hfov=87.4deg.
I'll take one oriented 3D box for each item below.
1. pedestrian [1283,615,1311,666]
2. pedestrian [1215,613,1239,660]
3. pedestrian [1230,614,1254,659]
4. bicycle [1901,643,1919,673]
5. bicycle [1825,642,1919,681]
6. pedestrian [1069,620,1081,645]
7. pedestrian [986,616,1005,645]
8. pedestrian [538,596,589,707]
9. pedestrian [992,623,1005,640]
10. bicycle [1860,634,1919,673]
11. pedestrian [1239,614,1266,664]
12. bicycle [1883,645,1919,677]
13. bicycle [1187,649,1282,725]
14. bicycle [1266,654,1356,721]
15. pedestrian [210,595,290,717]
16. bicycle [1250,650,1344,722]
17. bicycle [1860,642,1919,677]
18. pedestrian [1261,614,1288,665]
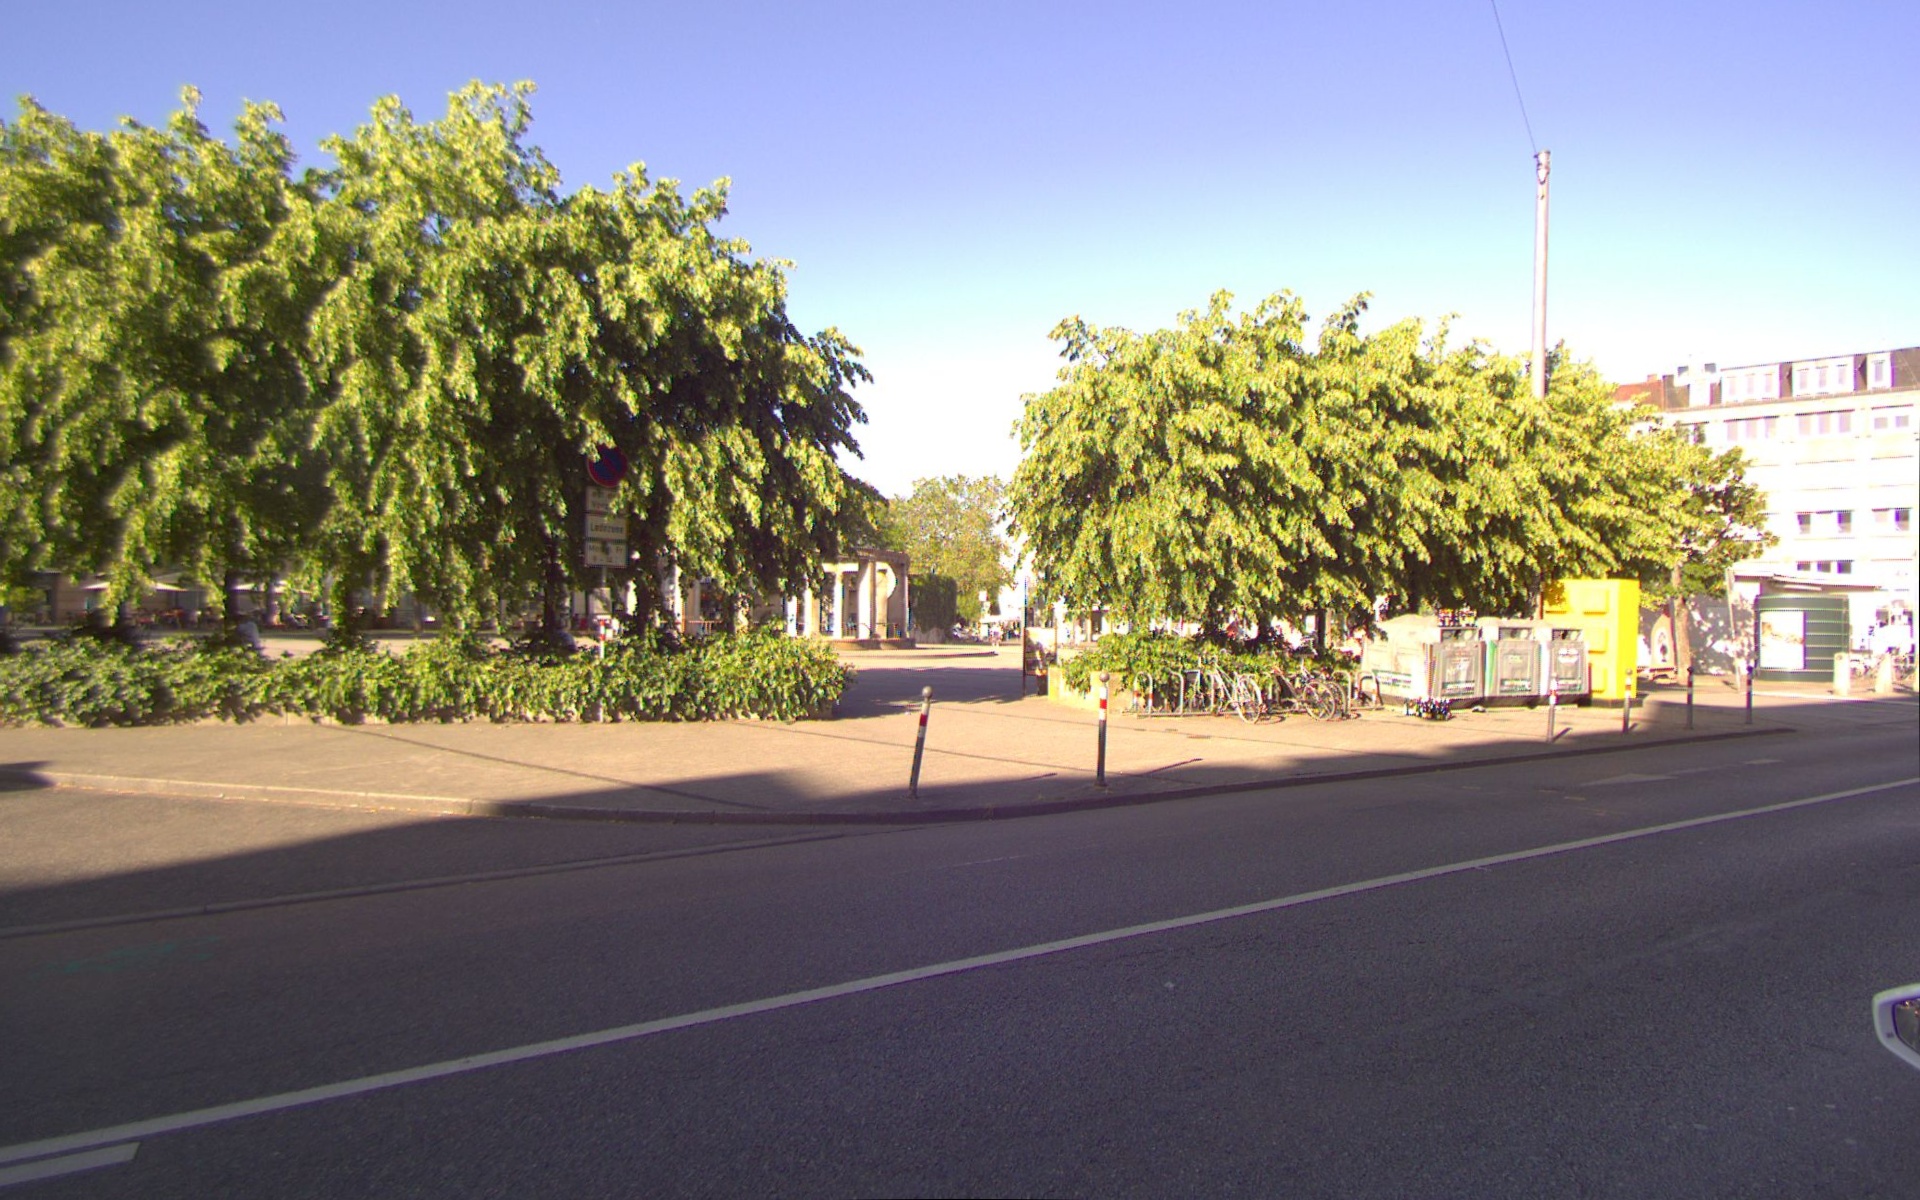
[{"bbox_3d":[13.836,1.644,41.220,0.886,2.040,0.993,1,0,7],"label":"pedestrian"},{"bbox_3d":[12.036,1.634,45.307,0.886,2.040,0.993,1,0,7],"label":"pedestrian"},{"bbox_3d":[12.953,1.666,46.182,0.886,2.040,0.993,1,0,7],"label":"pedestrian"},{"bbox_3d":[38.679,2.314,39.512,0.834,1.171,2.308,1,-1,-34],"label":"bicycle"},{"bbox_3d":[30.906,2.056,33.872,0.833,1.171,2.493,1,-1,-31],"label":"bicycle"},{"bbox_3d":[9.727,2.757,84.959,0.886,2.040,1.403,1,-1,12],"label":"pedestrian"},{"bbox_3d":[2.528,2.153,71.598,0.894,2.040,0.985,1,0,-30],"label":"pedestrian"},{"bbox_3d":[-6.557,0.838,16.647,0.725,1.781,0.895,1,-1,-19],"label":"pedestrian"},{"bbox_3d":[4.530,3.657,118.254,1.229,1.936,1.237,1,0,-8],"label":"pedestrian"},{"bbox_3d":[34.482,1.942,36.526,0.913,1.341,2.461,1,-1,-35],"label":"bicycle"},{"bbox_3d":[12.341,1.629,42.401,0.886,2.040,0.993,1,0,7],"label":"pedestrian"},{"bbox_3d":[36.755,2.326,38.034,0.834,1.171,2.517,1,-1,-34],"label":"bicycle"},{"bbox_3d":[4.219,1.323,15.549,0.425,1.031,1.590,1,0,-28],"label":"bicycle"},{"bbox_3d":[5.758,1.413,16.541,0.425,0.971,1.518,0,0,-28],"label":"bicycle"},{"bbox_3d":[-10.750,0.831,15.240,0.725,1.781,0.895,1,-1,-19],"label":"pedestrian"},{"bbox_3d":[5.388,1.356,16.133,0.425,1.036,1.561,1,-1,-28],"label":"bicycle"},{"bbox_3d":[33.121,2.073,35.037,0.833,1.171,2.449,1,-1,-31],"label":"bicycle"},{"bbox_3d":[12.909,1.616,41.270,0.886,2.040,0.993,1,0,7],"label":"pedestrian"}]
